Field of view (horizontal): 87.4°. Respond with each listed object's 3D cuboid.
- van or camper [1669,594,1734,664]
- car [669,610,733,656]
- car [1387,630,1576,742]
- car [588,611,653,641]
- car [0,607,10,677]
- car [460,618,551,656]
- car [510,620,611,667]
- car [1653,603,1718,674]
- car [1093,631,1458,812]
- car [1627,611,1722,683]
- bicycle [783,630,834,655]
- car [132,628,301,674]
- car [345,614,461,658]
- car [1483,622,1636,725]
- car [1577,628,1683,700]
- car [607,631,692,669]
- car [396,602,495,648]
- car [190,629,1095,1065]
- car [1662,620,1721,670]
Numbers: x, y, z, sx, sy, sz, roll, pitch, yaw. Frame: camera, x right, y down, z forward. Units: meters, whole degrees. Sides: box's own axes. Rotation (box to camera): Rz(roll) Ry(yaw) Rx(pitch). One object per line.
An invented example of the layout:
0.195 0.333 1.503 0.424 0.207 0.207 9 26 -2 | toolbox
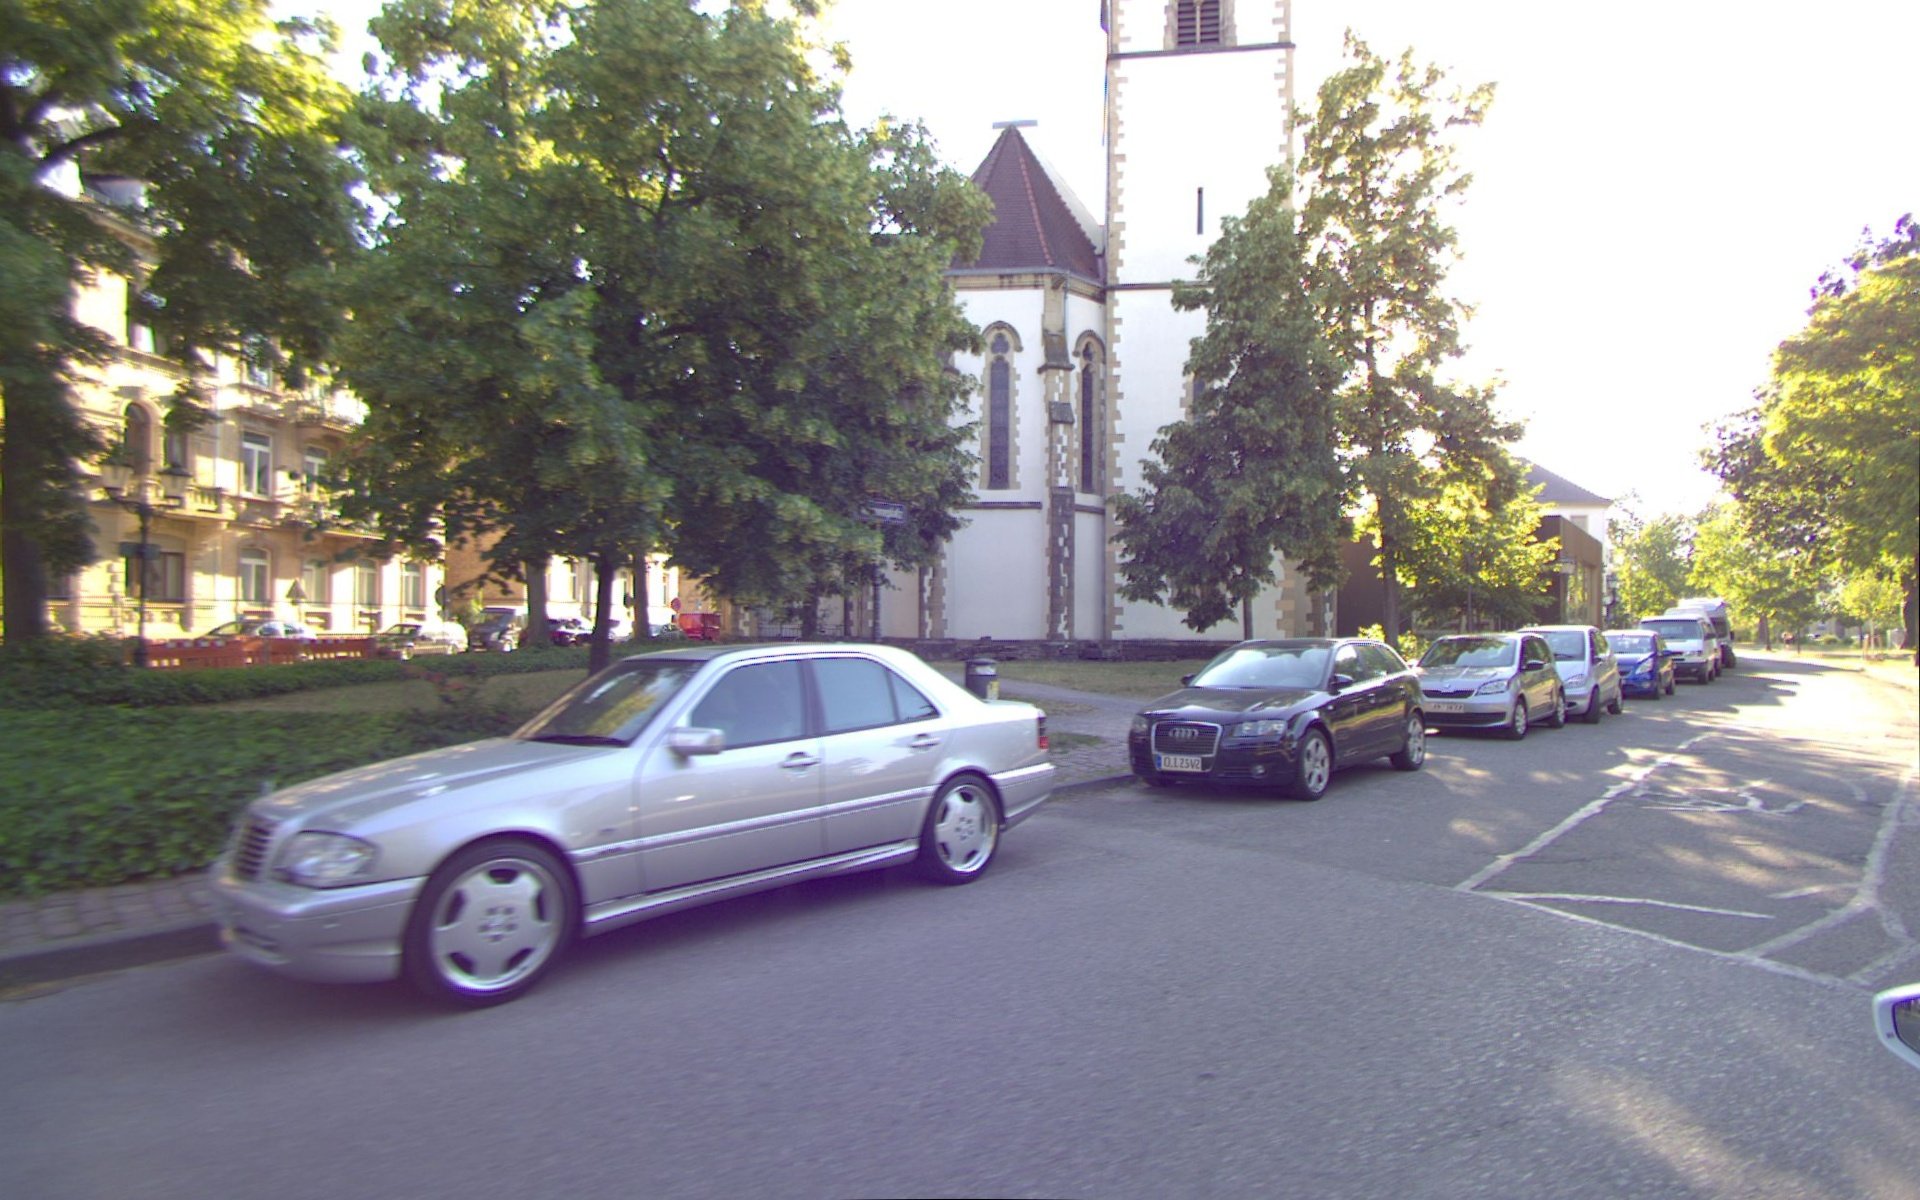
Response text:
33.424 1.282 45.207 2.065 2.946 6.304 0 -1 39 | van or camper
-13.447 1.702 52.419 1.853 2.291 4.223 0 -2 6 | car
7.879 1.190 15.030 1.595 1.459 3.585 -3 -3 43 | car
-19.782 1.488 58.772 1.959 1.677 4.223 0 -1 7 | car
-24.020 0.954 22.136 1.874 1.677 4.223 0 -1 7 | car
-21.106 1.699 46.862 1.959 1.677 4.223 0 -1 7 | car
-15.190 1.640 38.452 1.853 1.677 4.223 0 -2 6 | car
26.408 1.368 36.578 1.827 2.387 5.168 0 -1 36 | car
3.419 1.064 10.308 1.805 1.434 4.469 -4 -4 43 | car
21.341 1.344 29.932 1.830 1.972 4.815 0 -1 41 | car
-5.720 1.599 38.017 1.846 0.930 0.423 0 -1 9 | bicycle
-23.252 1.551 31.641 1.874 1.295 4.223 0 -1 7 | car
-22.275 1.422 40.387 1.959 1.677 4.223 0 -1 7 | car
10.653 1.203 17.749 1.685 1.600 3.677 0 -1 42 | car
15.676 1.434 23.438 1.598 1.521 3.677 0 -1 42 | car
-14.250 2.262 46.341 1.853 1.677 4.223 0 -2 12 | car
-26.523 1.289 51.867 4.135 2.291 1.893 0 -1 6 | car
-1.348 0.909 5.558 4.467 1.434 1.762 1 -4 -44 | car
29.350 1.758 40.331 1.827 1.910 4.129 0 -1 36 | car
